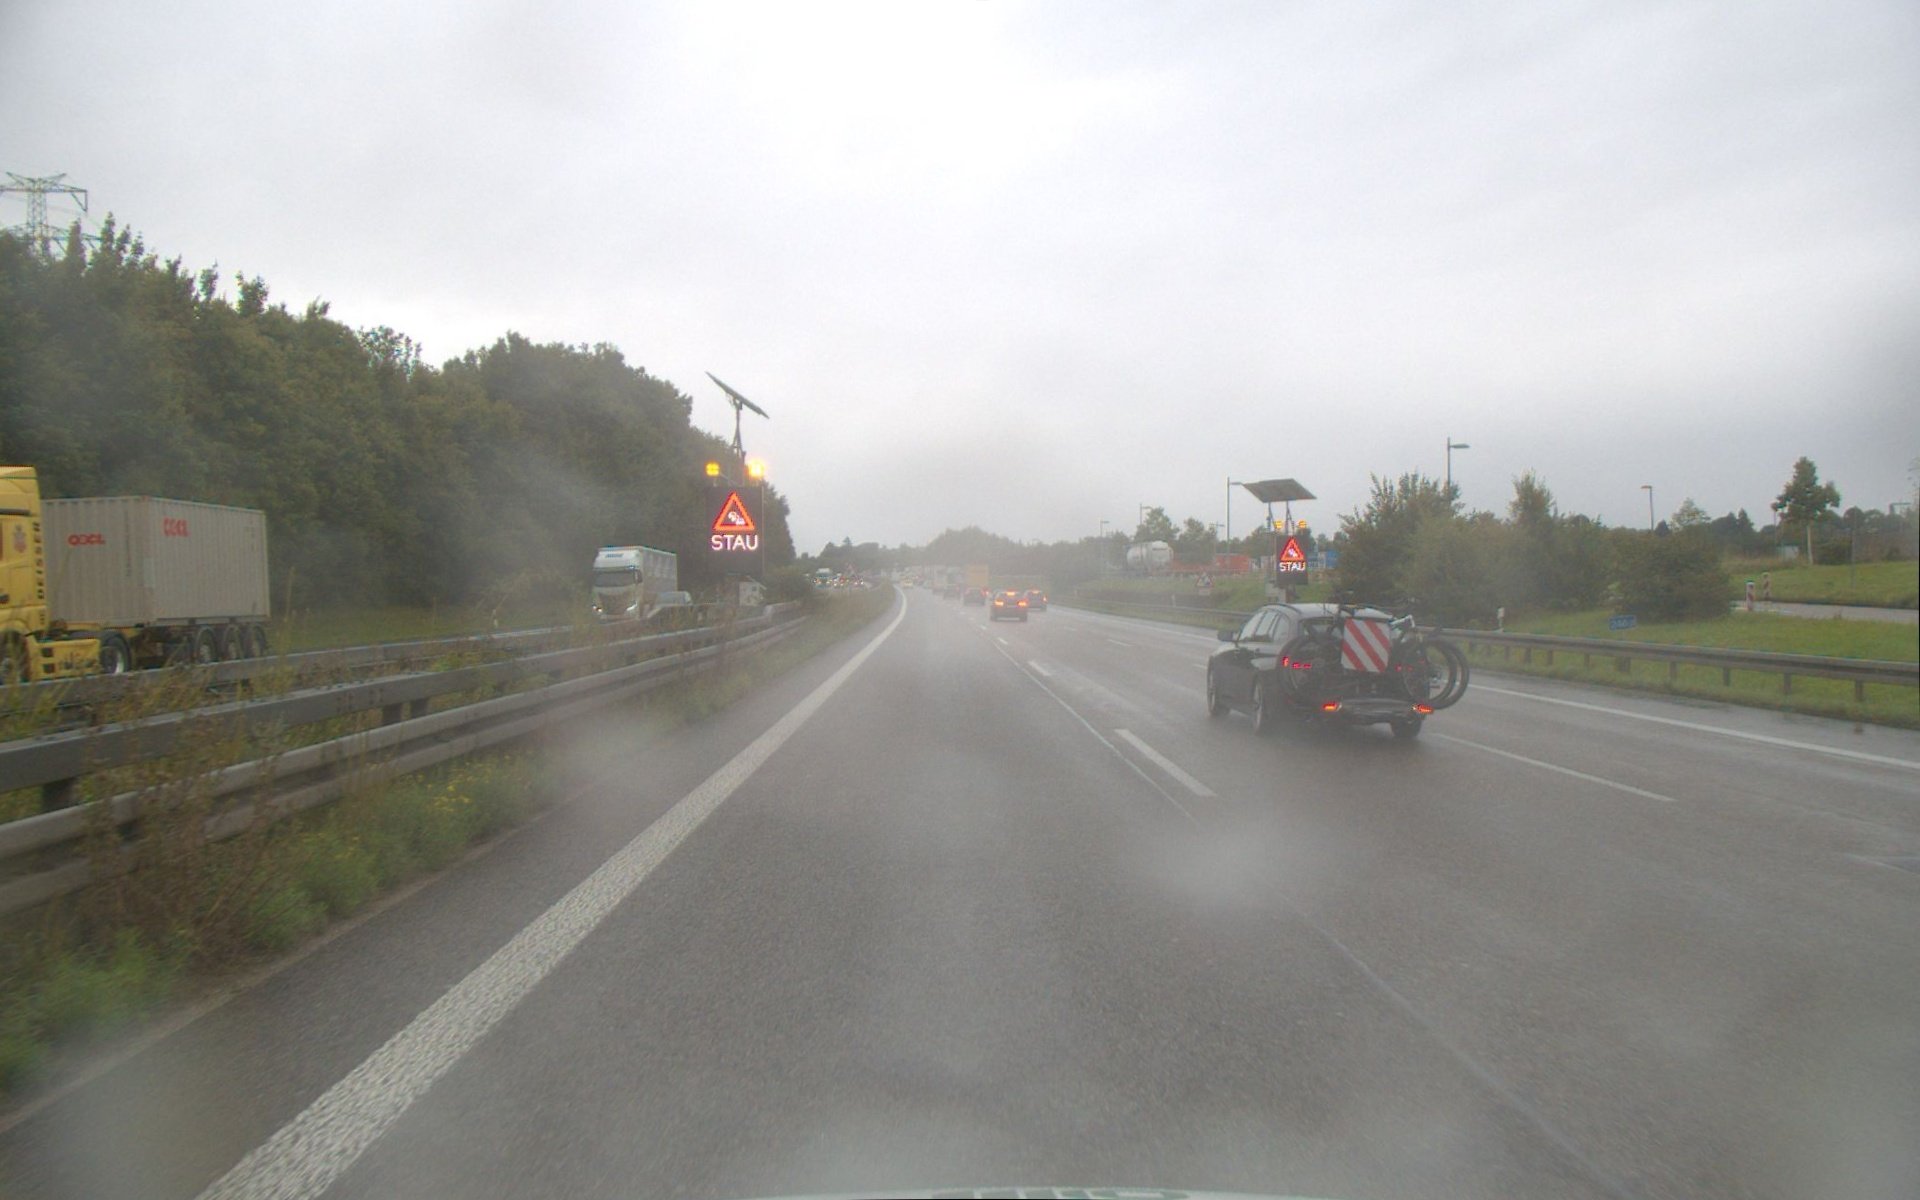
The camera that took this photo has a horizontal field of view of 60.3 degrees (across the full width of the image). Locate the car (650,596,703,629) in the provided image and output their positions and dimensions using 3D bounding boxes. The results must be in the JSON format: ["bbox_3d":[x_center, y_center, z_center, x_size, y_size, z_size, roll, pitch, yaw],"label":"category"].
[{"bbox_3d":[-13.944,0.593,81.533,1.836,1.519,4.513,-2,0,-1],"label":"car"}]

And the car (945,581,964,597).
[{"bbox_3d":[-0.593,-1.238,182.343,1.953,1.657,3.999,-1,1,-2],"label":"car"}]

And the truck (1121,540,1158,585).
[{"bbox_3d":[17.259,-3.617,159.331,2.889,4.218,4.921,-1,0,-1],"label":"truck"}]

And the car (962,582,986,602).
[{"bbox_3d":[1.168,-0.726,141.336,1.953,1.657,3.999,-1,1,-2],"label":"car"}]

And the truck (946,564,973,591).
[{"bbox_3d":[-0.126,-3.544,260.497,3.845,4.051,12.236,-1,1,-1],"label":"truck"}]

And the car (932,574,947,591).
[{"bbox_3d":[-2.948,-2.497,236.406,1.953,2.243,3.999,-1,0,-2],"label":"car"}]

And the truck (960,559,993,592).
[{"bbox_3d":[2.112,-3.106,214.102,3.845,4.051,12.236,-1,1,-1],"label":"truck"}]

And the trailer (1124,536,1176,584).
[{"bbox_3d":[17.415,-3.573,152.302,2.925,4.229,12.952,-1,1,-2],"label":"trailer"}]

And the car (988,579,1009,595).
[{"bbox_3d":[4.029,-1.374,173.056,1.953,1.657,3.999,-1,1,-2],"label":"car"}]

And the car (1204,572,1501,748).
[{"bbox_3d":[4.283,0.615,19.079,2.016,1.700,5.520,1,0,-1],"label":"car"}]

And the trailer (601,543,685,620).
[{"bbox_3d":[-19.000,-1.104,99.997,2.590,4.311,13.908,-1,1,-1],"label":"trailer"}]

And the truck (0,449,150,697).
[{"bbox_3d":[-17.373,-0.426,29.590,2.706,4.126,6.155,-2,0,-1],"label":"truck"}]

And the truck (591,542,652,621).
[{"bbox_3d":[-18.867,-1.038,92.258,2.590,4.311,3.999,-1,0,-1],"label":"truck"}]

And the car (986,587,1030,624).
[{"bbox_3d":[2.393,0.240,83.293,1.953,1.791,3.999,-1,1,-2],"label":"car"}]

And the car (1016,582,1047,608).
[{"bbox_3d":[5.178,-0.395,119.616,1.953,1.791,3.999,-1,1,-2],"label":"car"}]

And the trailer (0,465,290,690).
[{"bbox_3d":[-17.503,-0.446,35.324,2.706,4.126,9.198,-2,0,-1],"label":"trailer"}]
